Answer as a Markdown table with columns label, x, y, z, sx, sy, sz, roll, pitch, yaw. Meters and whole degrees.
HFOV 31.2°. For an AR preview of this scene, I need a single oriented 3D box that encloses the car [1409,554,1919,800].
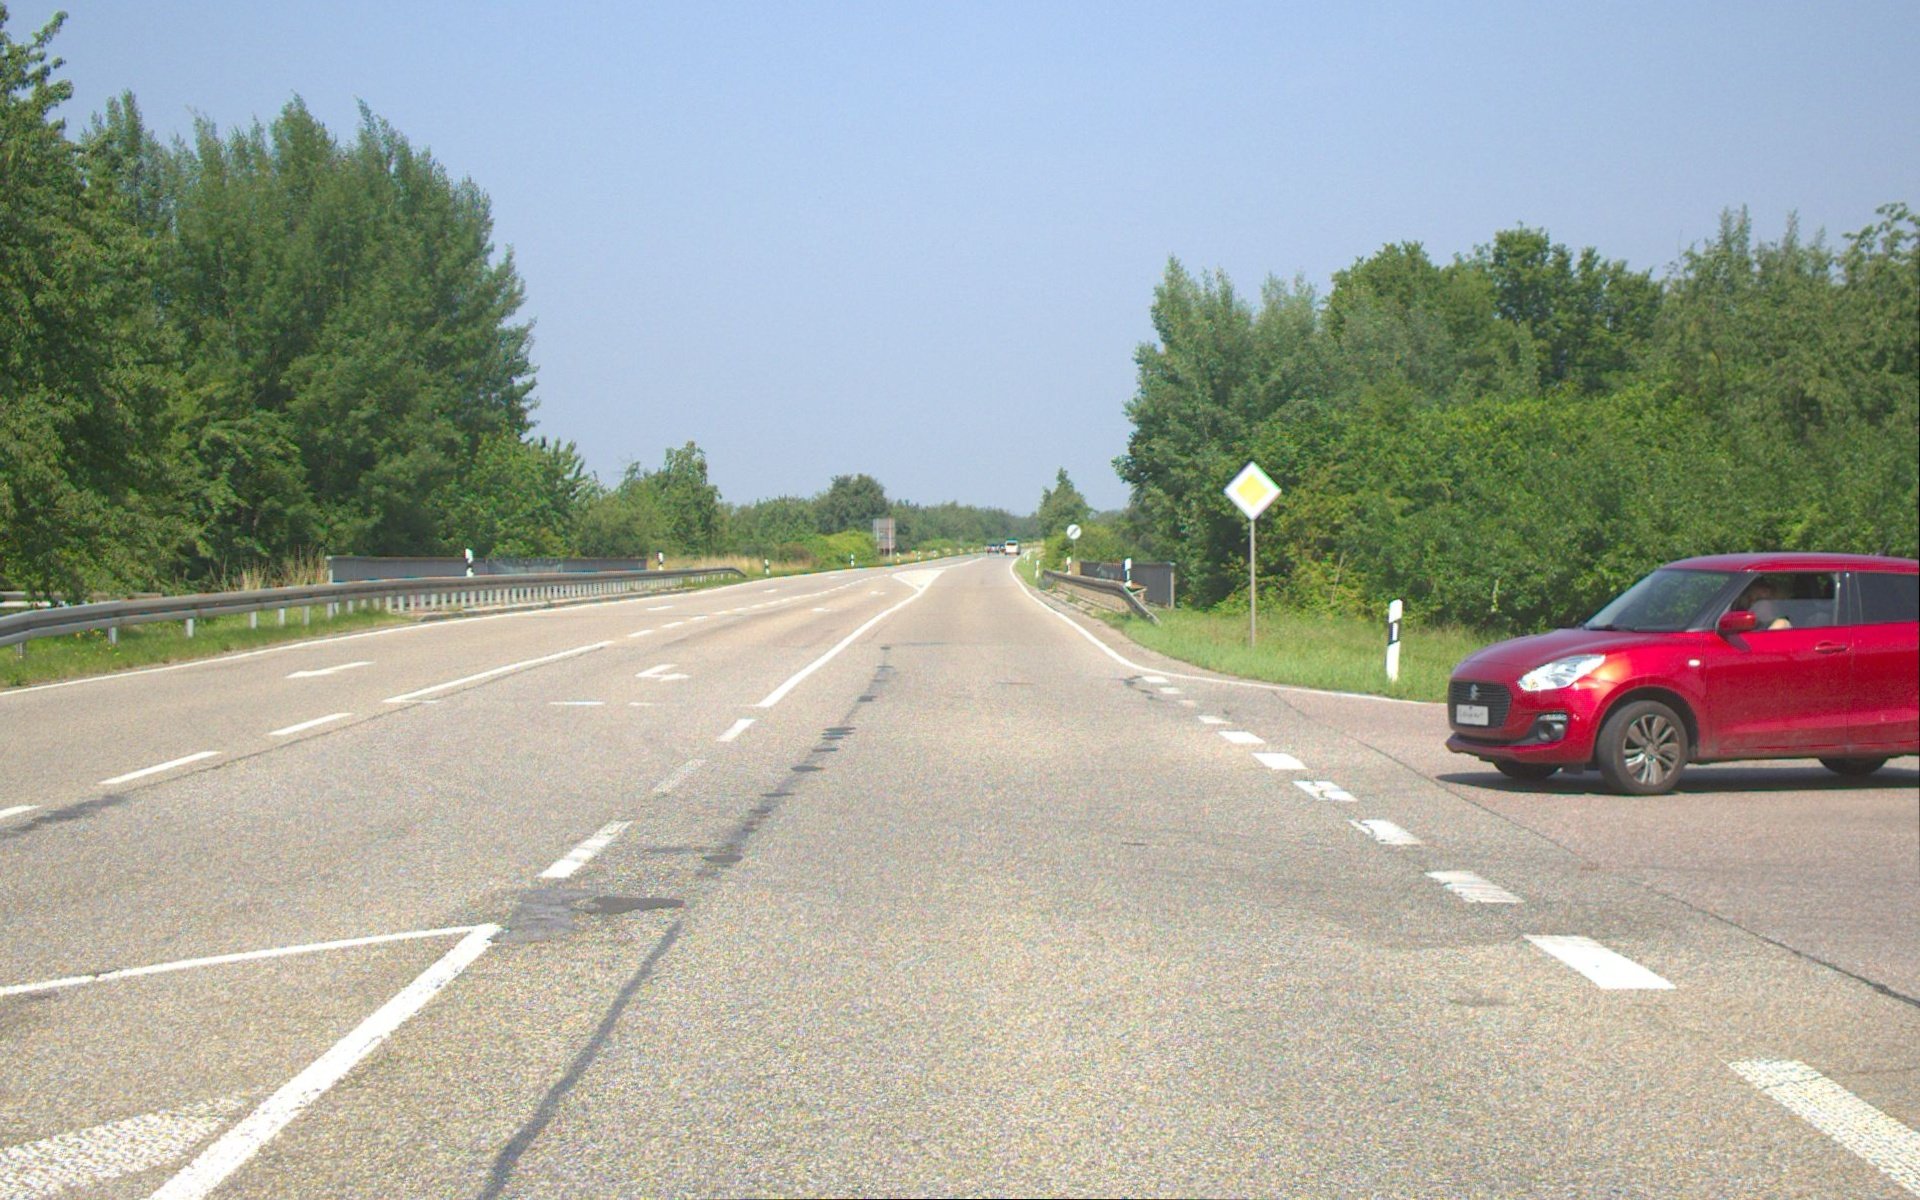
| label | x | y | z | sx | sy | sz | roll | pitch | yaw |
| --- | --- | --- | --- | --- | --- | --- | --- | --- | --- |
| car | 4.994 | 0.481 | 22.324 | 3.739 | 1.487 | 1.672 | 1 | 1 | -17 |
